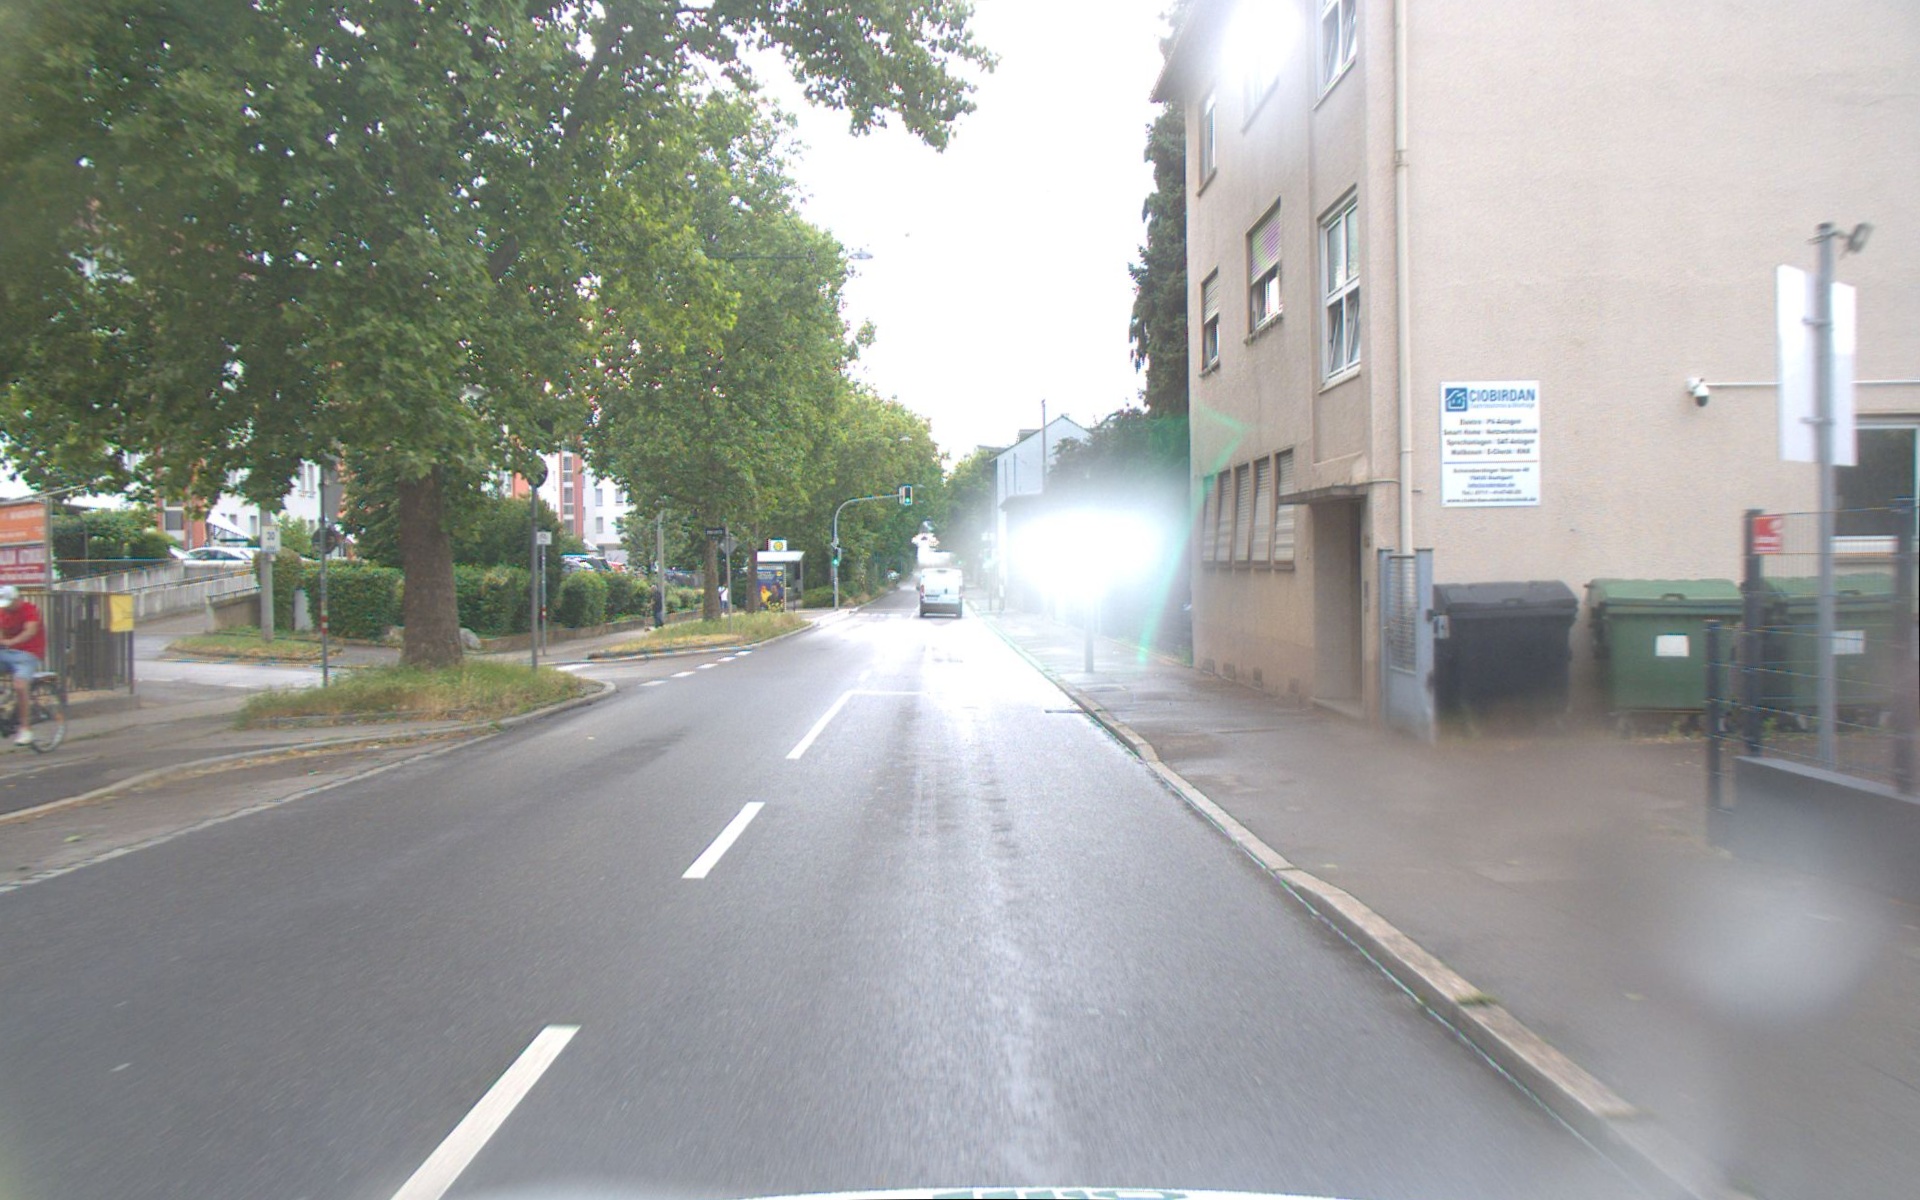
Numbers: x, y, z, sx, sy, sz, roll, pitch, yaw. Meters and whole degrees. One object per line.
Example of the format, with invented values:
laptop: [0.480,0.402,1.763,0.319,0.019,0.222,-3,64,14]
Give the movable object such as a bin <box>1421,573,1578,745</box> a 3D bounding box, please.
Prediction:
movable object such as a bin: [5.097,0.546,15.692,1.088,1.536,0.986,-3,-1,-2]

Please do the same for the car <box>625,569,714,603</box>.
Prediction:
car: [-15.742,-0.757,89.682,4.453,1.701,1.999,1,-1,-2]

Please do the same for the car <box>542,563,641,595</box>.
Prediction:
car: [-16.435,-0.934,73.930,4.005,1.325,1.809,1,-1,-1]

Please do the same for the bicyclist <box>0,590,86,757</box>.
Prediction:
bicyclist: [-9.187,0.702,16.179,0.816,1.580,0.816,1,-1,-2]

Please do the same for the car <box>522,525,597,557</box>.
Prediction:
car: [-22.736,-3.325,93.997,3.786,1.630,1.694,2,-1,-40]

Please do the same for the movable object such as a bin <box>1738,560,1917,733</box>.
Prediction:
movable object such as a bin: [8.191,0.428,15.671,1.088,1.536,1.010,-3,-1,-2]

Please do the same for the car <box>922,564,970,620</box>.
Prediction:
car: [-0.679,-0.359,79.007,2.236,2.597,3.999,0,-1,-1]

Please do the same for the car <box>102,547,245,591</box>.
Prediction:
car: [-26.236,-1.021,55.264,3.904,1.341,1.745,1,-1,1]

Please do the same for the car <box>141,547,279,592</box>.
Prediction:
car: [-25.997,-1.033,57.432,3.904,1.439,1.849,1,-1,1]

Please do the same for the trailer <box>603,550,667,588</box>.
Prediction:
trailer: [-14.929,-1.424,76.023,2.649,1.674,1.480,1,0,0]

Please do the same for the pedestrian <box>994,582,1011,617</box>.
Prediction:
pedestrian: [2.128,-0.001,83.300,0.728,1.734,0.900,1,-1,-6]

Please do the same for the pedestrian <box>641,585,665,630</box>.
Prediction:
pedestrian: [-11.270,0.282,60.709,0.740,1.639,0.834,1,-1,-5]

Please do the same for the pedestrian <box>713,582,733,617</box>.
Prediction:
pedestrian: [-11.387,-0.024,79.498,0.726,1.626,0.606,-4,-1,2]

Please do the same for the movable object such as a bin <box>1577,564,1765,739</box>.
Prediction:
movable object such as a bin: [6.676,0.473,15.601,1.209,1.536,1.110,-3,-1,-2]

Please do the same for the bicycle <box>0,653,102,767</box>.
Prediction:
bicycle: [-9.181,1.045,16.090,0.543,1.013,2.264,1,-1,-2]

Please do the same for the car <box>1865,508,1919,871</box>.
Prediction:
car: [6.750,0.463,7.630,4.142,1.767,1.869,1,-1,-1]
